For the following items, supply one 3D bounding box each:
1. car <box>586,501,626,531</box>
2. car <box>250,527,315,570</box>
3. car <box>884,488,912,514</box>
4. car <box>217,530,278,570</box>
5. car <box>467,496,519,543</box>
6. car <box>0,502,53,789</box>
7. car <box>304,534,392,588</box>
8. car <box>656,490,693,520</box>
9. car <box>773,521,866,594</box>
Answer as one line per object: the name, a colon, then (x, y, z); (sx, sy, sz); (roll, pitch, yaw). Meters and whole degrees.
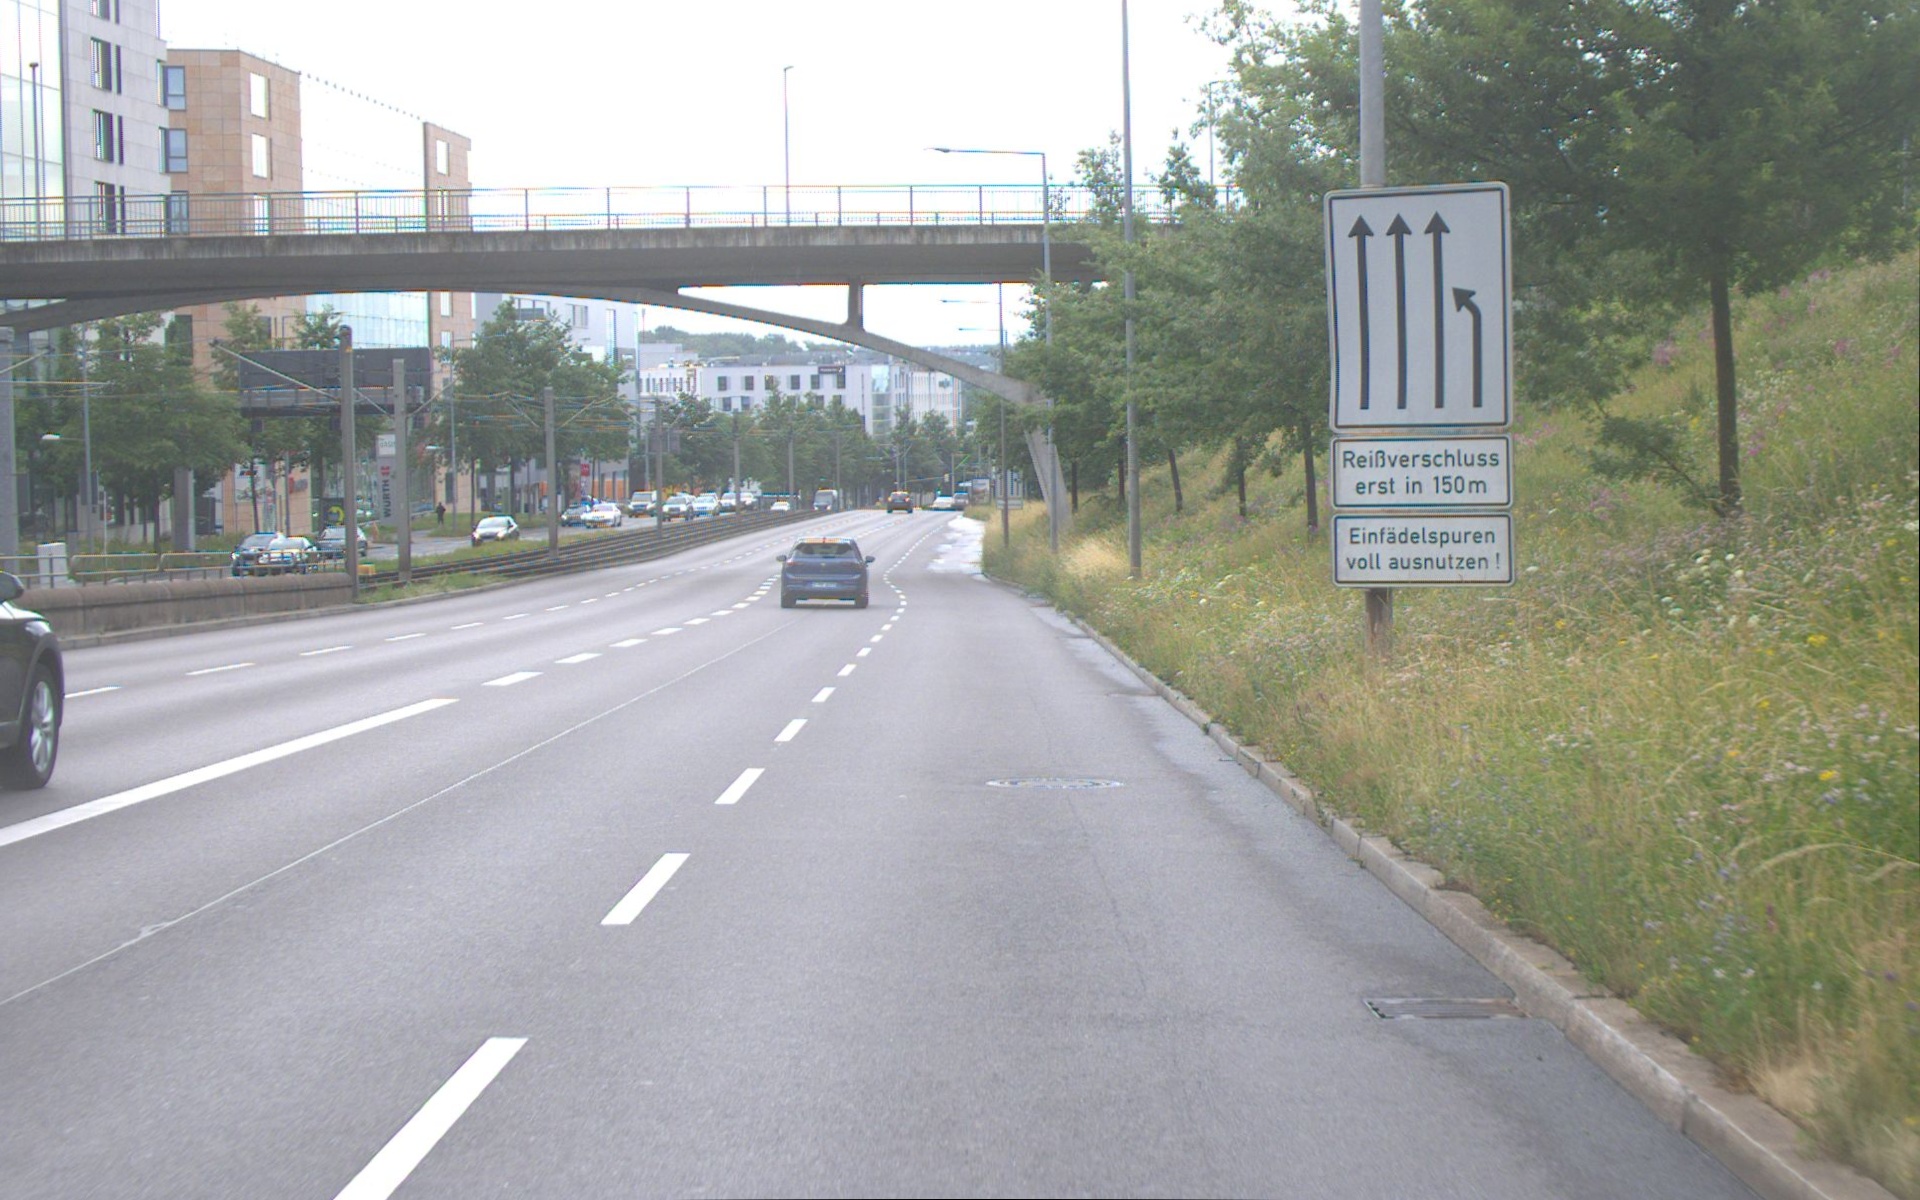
car: (-22.541, -5.368, 219.128); (1.993, 1.729, 4.249); (1, 4, 1)
car: (-23.151, -1.778, 117.590); (1.517, 1.415, 3.478); (-1, 2, 0)
car: (-4.643, -7.382, 256.453); (1.862, 1.743, 4.001); (1, 4, -3)
car: (-26.314, -1.858, 127.061); (1.517, 1.415, 3.478); (-1, 2, 0)
car: (-22.298, -3.849, 164.321); (1.993, 2.006, 4.001); (1, 4, -1)
car: (-6.222, 0.277, 18.233); (1.751, 1.612, 4.749); (0, 1, -3)
car: (-16.453, -1.074, 92.557); (1.749, 1.415, 3.478); (0, 1, 0)
car: (-18.918, -6.303, 228.059); (1.993, 2.007, 4.000); (0, 1, 2)
car: (-2.874, -0.898, 70.932); (1.749, 1.415, 3.478); (-1, 2, 0)
